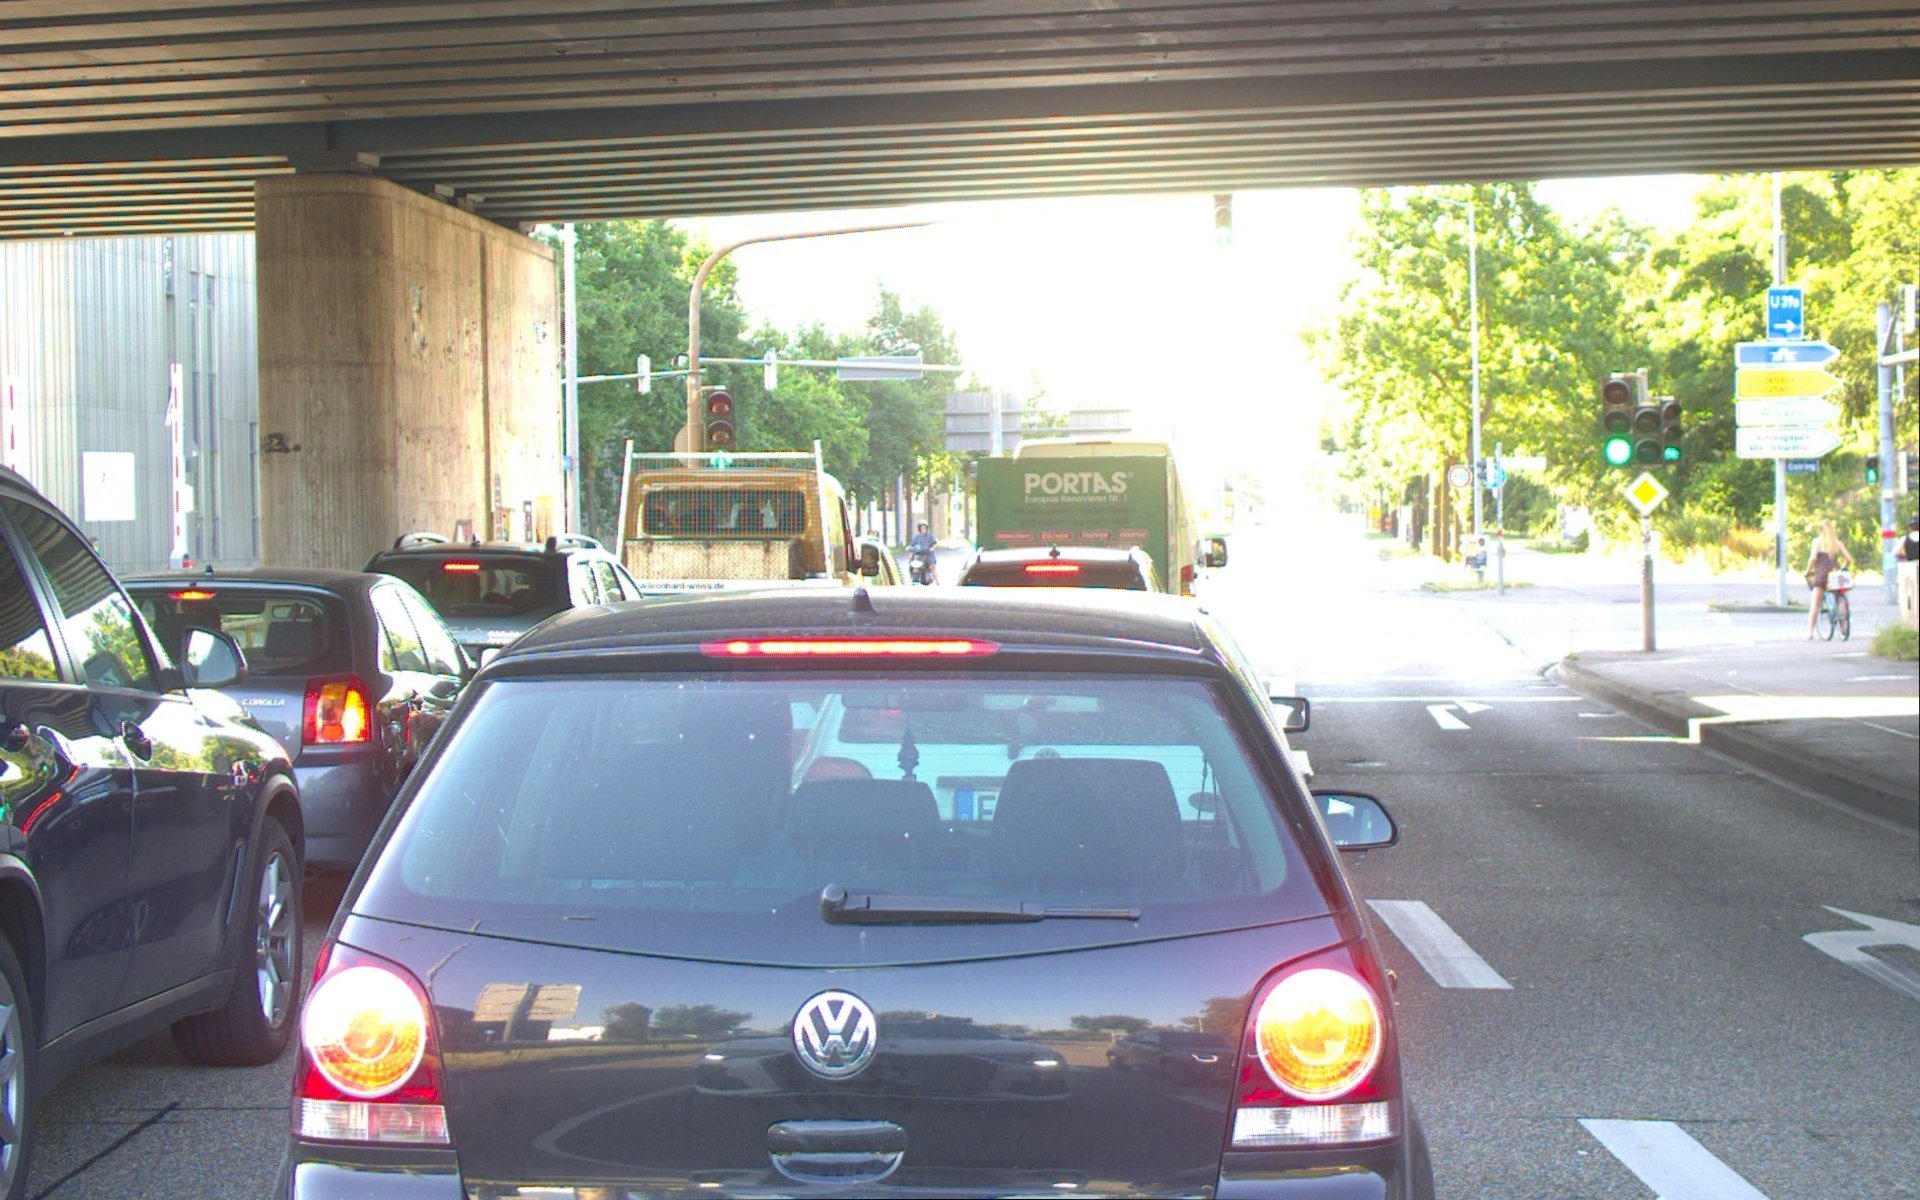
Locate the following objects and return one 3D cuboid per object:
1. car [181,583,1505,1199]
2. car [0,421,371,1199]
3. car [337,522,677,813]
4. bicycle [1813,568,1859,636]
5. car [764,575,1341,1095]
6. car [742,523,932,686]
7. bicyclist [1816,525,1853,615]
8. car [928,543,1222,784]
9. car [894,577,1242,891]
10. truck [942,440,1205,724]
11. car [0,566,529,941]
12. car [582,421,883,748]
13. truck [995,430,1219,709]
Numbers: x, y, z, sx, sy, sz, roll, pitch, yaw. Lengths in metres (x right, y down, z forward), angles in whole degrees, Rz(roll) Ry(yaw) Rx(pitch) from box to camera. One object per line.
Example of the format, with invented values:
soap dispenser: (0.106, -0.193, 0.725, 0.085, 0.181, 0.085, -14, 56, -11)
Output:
car: (-0.218, 0.693, 6.064, 1.616, 1.405, 3.683, 1, 1, -2)
car: (-2.933, 0.467, 8.329, 1.994, 1.728, 4.532, 1, 1, 3)
car: (-2.785, 0.374, 21.821, 1.616, 1.673, 3.683, 1, 1, 1)
bicycle: (12.066, 0.028, 47.367, 0.437, 0.911, 1.026, -2, 0, 6)
car: (0.283, 0.635, 11.548, 1.578, 1.408, 4.062, 1, 1, 1)
car: (-1.307, 0.029, 37.776, 1.617, 1.673, 3.682, 1, 1, 5)
bicyclist: (12.045, -0.416, 47.358, 0.427, 1.229, 0.460, -1, 0, 6)
car: (0.904, 0.396, 24.595, 1.796, 1.553, 3.999, 1, 1, 6)
car: (0.524, 0.604, 17.835, 1.578, 1.408, 4.062, 1, 1, 1)
truck: (1.072, -0.170, 30.308, 1.996, 2.307, 3.999, 1, 1, 6)
car: (-2.911, 0.565, 14.929, 1.616, 1.405, 3.683, 1, 1, 0)
car: (-1.866, -0.151, 29.827, 2.137, 2.567, 5.087, 1, 1, 1)
truck: (1.561, -0.316, 35.069, 1.996, 2.659, 3.999, 1, 1, 6)
